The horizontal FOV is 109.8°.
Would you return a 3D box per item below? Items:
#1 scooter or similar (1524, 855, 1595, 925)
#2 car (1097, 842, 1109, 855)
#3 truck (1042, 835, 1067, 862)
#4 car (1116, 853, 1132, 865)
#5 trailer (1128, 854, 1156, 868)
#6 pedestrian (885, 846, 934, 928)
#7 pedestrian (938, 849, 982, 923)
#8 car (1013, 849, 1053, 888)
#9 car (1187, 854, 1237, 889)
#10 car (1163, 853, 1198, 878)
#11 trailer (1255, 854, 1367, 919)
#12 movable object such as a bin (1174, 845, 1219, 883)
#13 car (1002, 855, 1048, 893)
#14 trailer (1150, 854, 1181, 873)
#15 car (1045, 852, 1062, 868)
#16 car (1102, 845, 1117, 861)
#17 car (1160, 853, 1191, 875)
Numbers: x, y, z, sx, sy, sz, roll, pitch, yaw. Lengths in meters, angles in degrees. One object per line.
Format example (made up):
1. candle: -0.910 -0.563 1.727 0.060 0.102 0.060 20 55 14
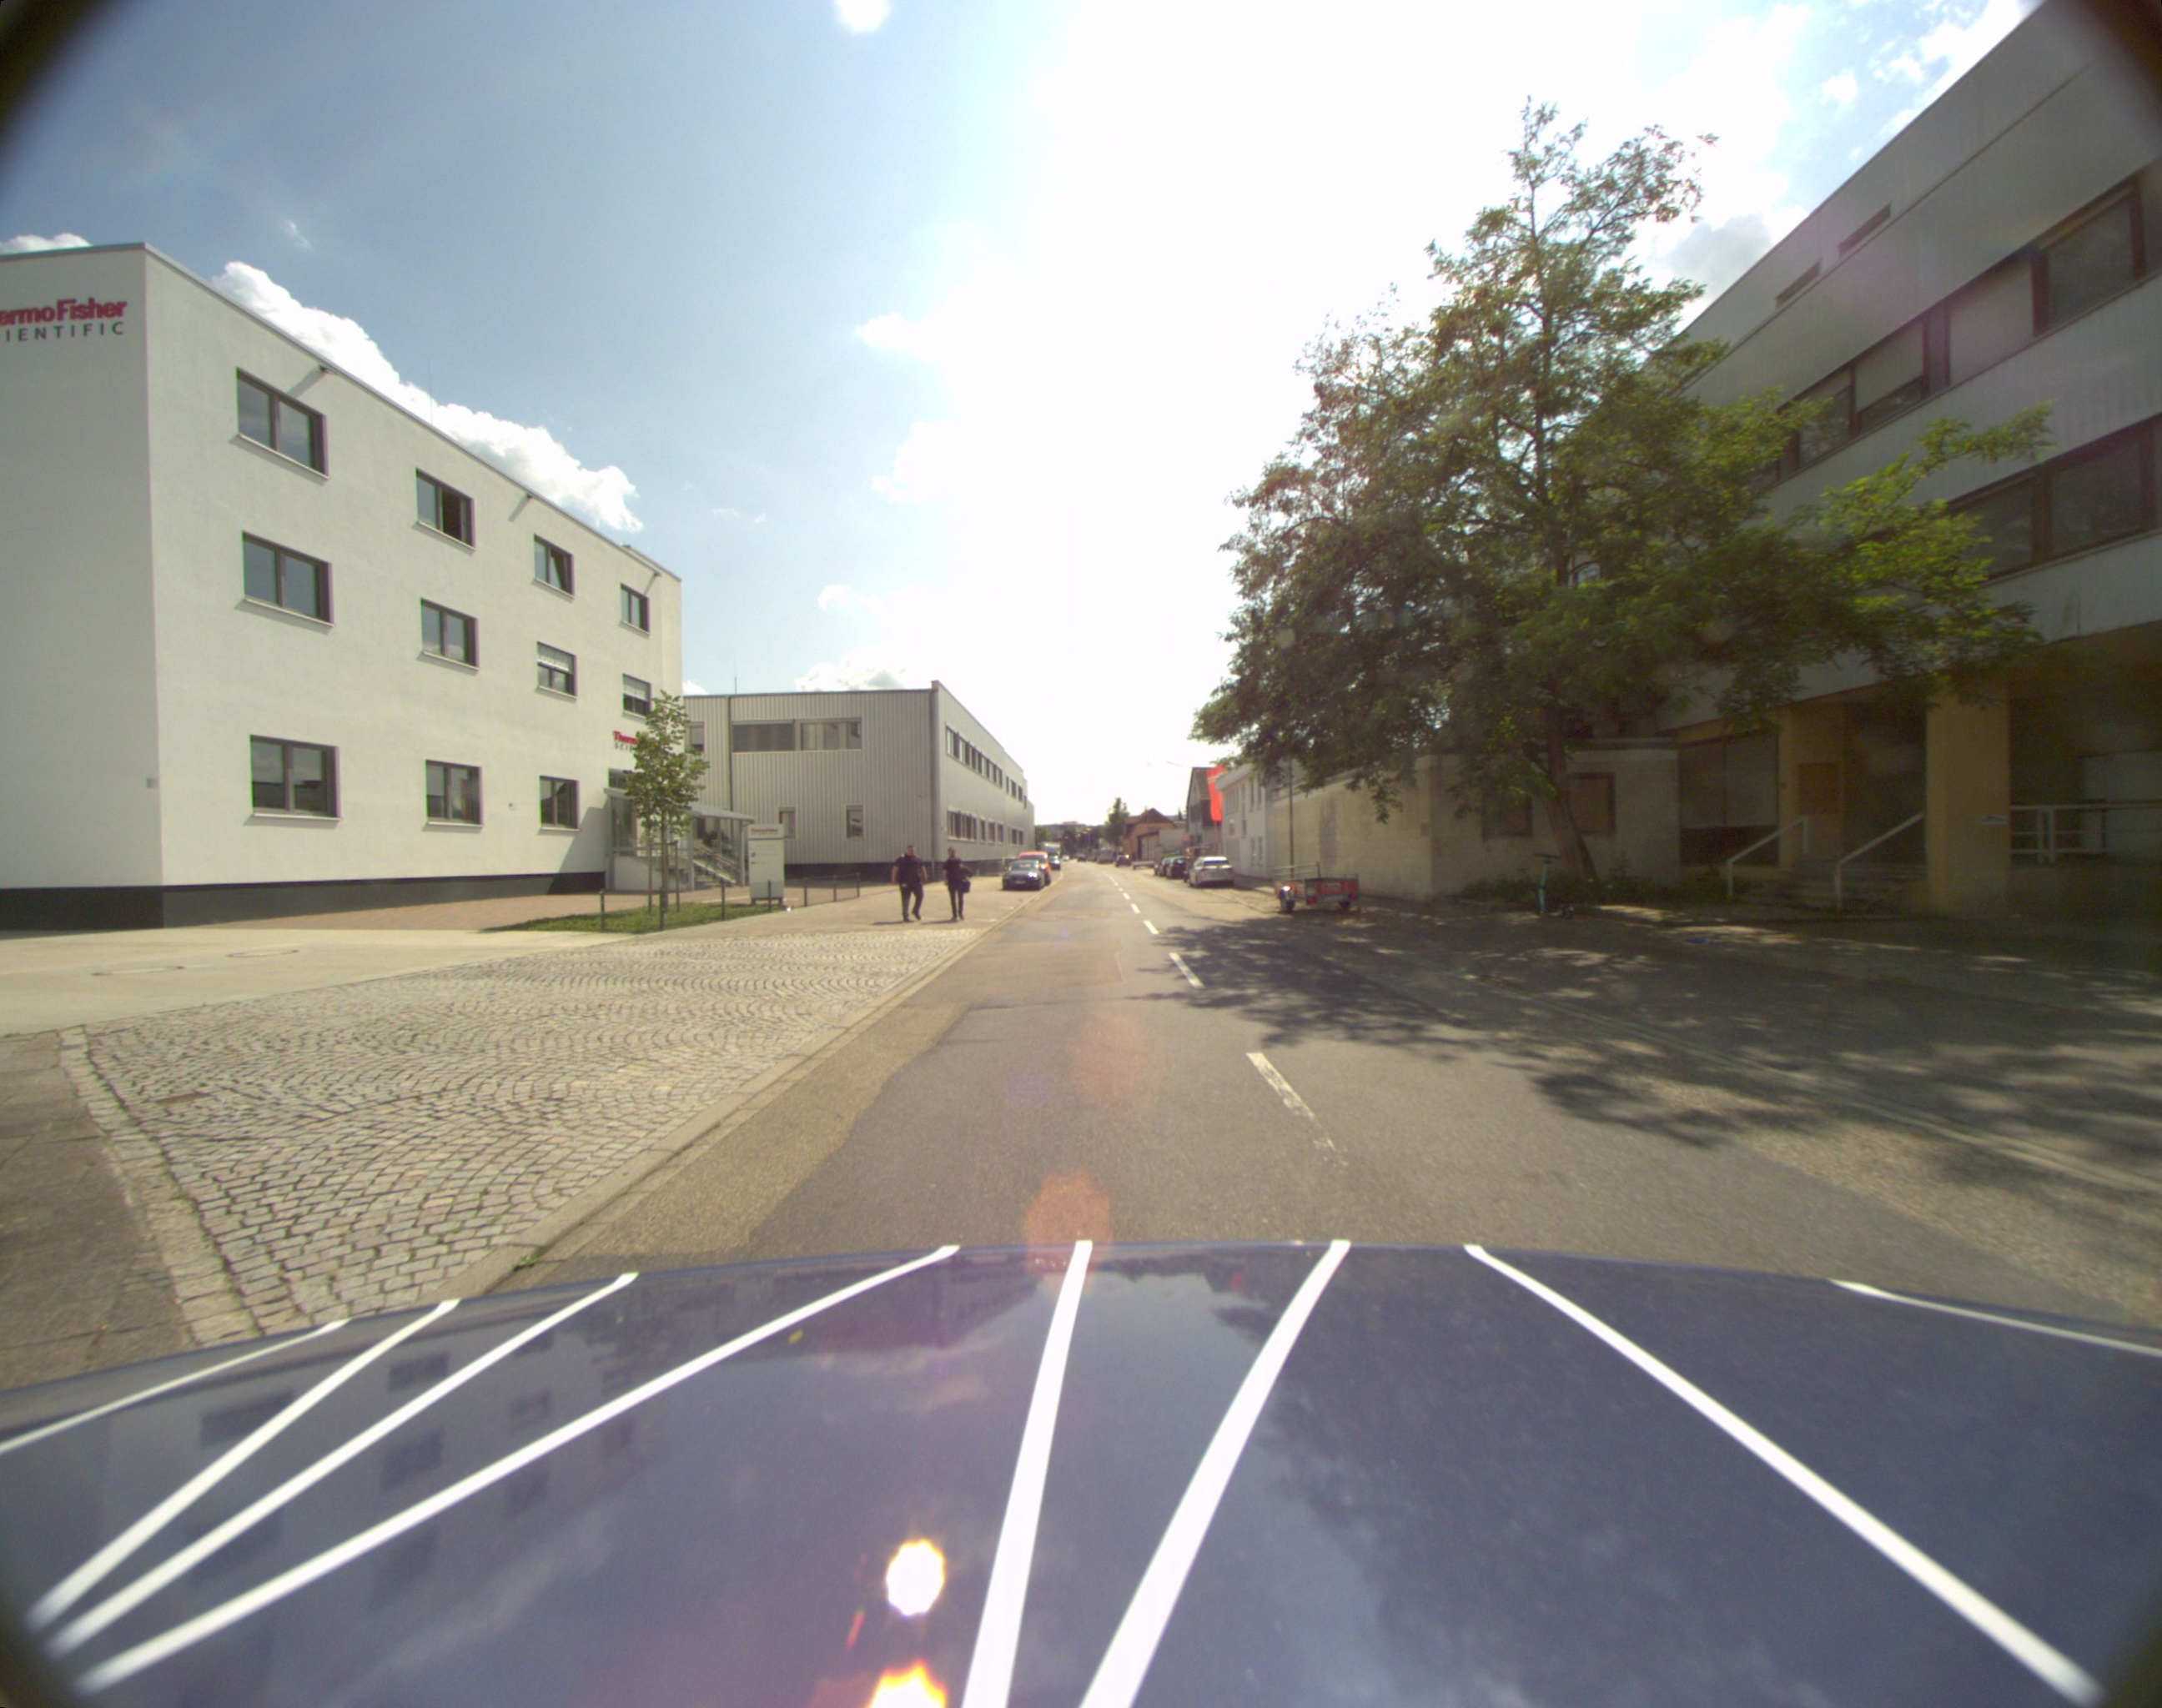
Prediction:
1. scooter or similar: 9.375 0.674 14.937 0.483 1.272 1.360 -4 1 1
2. car: 4.539 -1.075 156.359 1.999 2.556 5.823 -4 1 -1
3. truck: -3.493 -0.688 98.423 2.608 3.207 8.074 -4 1 -4
4. car: 5.520 0.616 98.087 1.714 1.459 4.629 -4 1 0
5. trailer: 6.306 0.712 79.317 2.457 1.157 6.052 -3 1 0
6. pedestrian: -4.206 0.782 18.639 0.994 1.940 1.089 -1 1 -22
7. pedestrian: -3.055 0.788 19.112 0.860 1.797 1.003 -1 1 -22
8. car: -2.610 0.733 42.246 1.877 1.881 4.451 -5 1 -1
9. car: 6.268 0.798 36.757 1.677 1.447 4.513 -3 1 1
10. car: 6.481 0.687 49.745 1.677 1.447 4.223 -3 1 0
11. trailer: 6.183 0.813 20.949 1.771 1.431 4.335 -4 1 1
12. movable object such as a bin: 6.452 0.511 42.872 1.618 1.908 5.138 -5 0 0
13. car: -2.604 0.889 36.140 1.663 1.549 4.178 -4 1 2
14. trailer: 6.678 0.726 60.550 1.772 1.368 5.050 -3 1 -1
15. car: -2.988 0.636 83.770 1.715 1.502 4.114 -4 1 -1
16. car: 4.880 -0.160 129.657 2.079 2.527 5.823 -4 1 -1
17. car: 6.777 0.692 54.863 1.677 1.368 3.883 -3 1 -1
